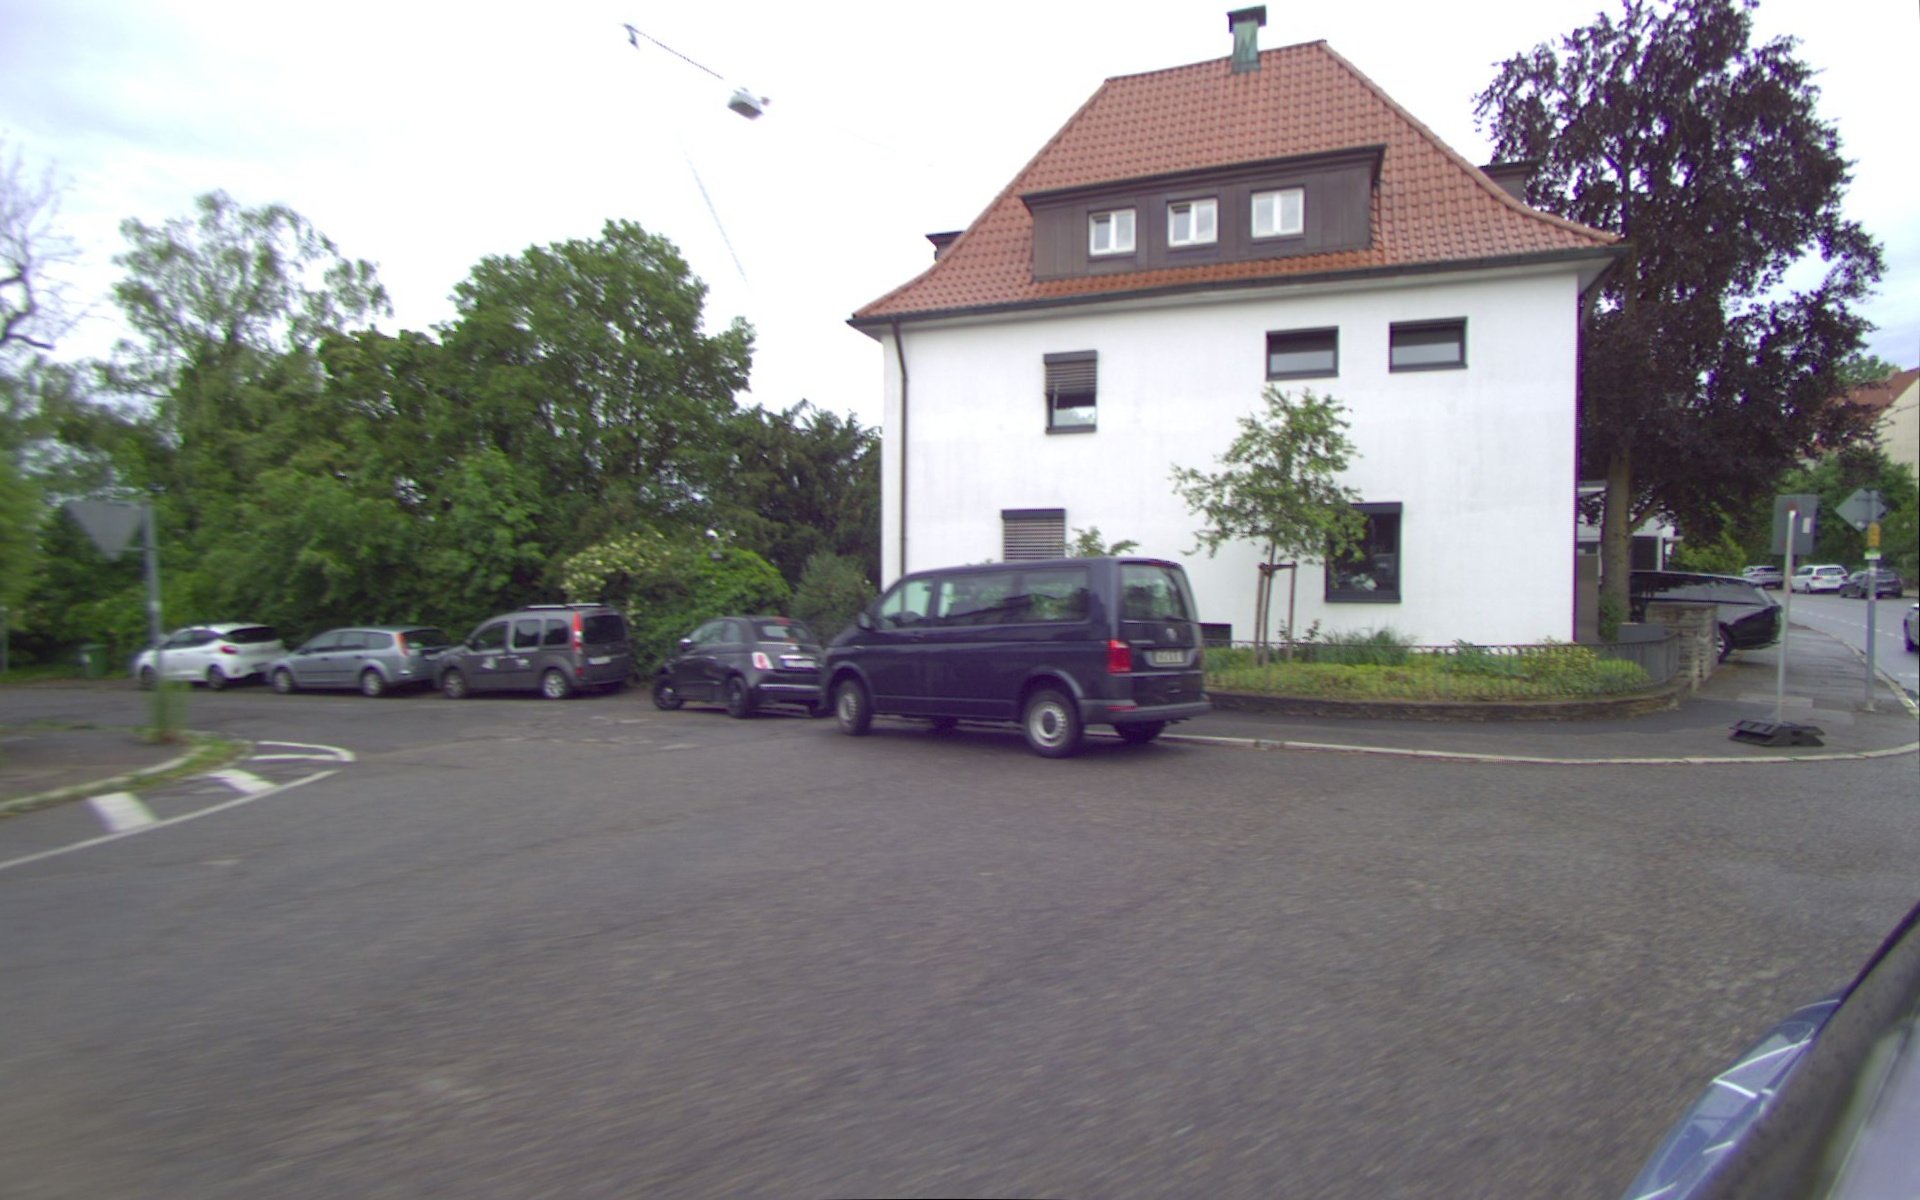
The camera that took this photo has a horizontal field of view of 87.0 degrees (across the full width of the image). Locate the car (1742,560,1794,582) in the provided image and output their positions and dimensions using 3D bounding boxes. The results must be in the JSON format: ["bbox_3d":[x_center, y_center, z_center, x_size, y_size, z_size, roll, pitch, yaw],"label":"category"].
[{"bbox_3d":[56.232,-1.994,70.502,1.661,1.389,4.403,-1,1,23],"label":"car"}]

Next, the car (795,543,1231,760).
[{"bbox_3d":[0.408,0.408,11.581,4.904,1.972,1.911,1,2,42],"label":"car"}]

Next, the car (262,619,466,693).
[{"bbox_3d":[-13.288,1.221,22.593,3.946,1.482,1.762,-1,0,18],"label":"car"}]

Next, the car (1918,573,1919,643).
[{"bbox_3d":[23.136,0.232,22.797,1.786,1.720,3.840,-1,0,37],"label":"car"}]

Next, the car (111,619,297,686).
[{"bbox_3d":[-18.443,1.261,24.719,3.949,1.482,1.760,-1,0,20],"label":"car"}]

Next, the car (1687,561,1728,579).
[{"bbox_3d":[60.589,-2.422,82.085,1.661,1.389,4.403,-1,1,23],"label":"car"}]

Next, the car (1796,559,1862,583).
[{"bbox_3d":[52.403,-1.736,61.098,1.662,1.389,4.403,2,2,23],"label":"car"}]

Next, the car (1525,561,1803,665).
[{"bbox_3d":[15.186,0.177,22.021,4.726,1.831,1.914,5,4,40],"label":"car"}]

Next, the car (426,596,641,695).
[{"bbox_3d":[-8.756,0.901,20.805,3.949,1.883,1.760,-1,0,20],"label":"car"}]

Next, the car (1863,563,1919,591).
[{"bbox_3d":[48.925,-1.184,53.100,1.667,1.389,3.403,-1,1,31],"label":"car"}]

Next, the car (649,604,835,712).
[{"bbox_3d":[-3.370,0.897,15.350,1.300,1.460,3.260,4,-6,-42],"label":"car"}]
